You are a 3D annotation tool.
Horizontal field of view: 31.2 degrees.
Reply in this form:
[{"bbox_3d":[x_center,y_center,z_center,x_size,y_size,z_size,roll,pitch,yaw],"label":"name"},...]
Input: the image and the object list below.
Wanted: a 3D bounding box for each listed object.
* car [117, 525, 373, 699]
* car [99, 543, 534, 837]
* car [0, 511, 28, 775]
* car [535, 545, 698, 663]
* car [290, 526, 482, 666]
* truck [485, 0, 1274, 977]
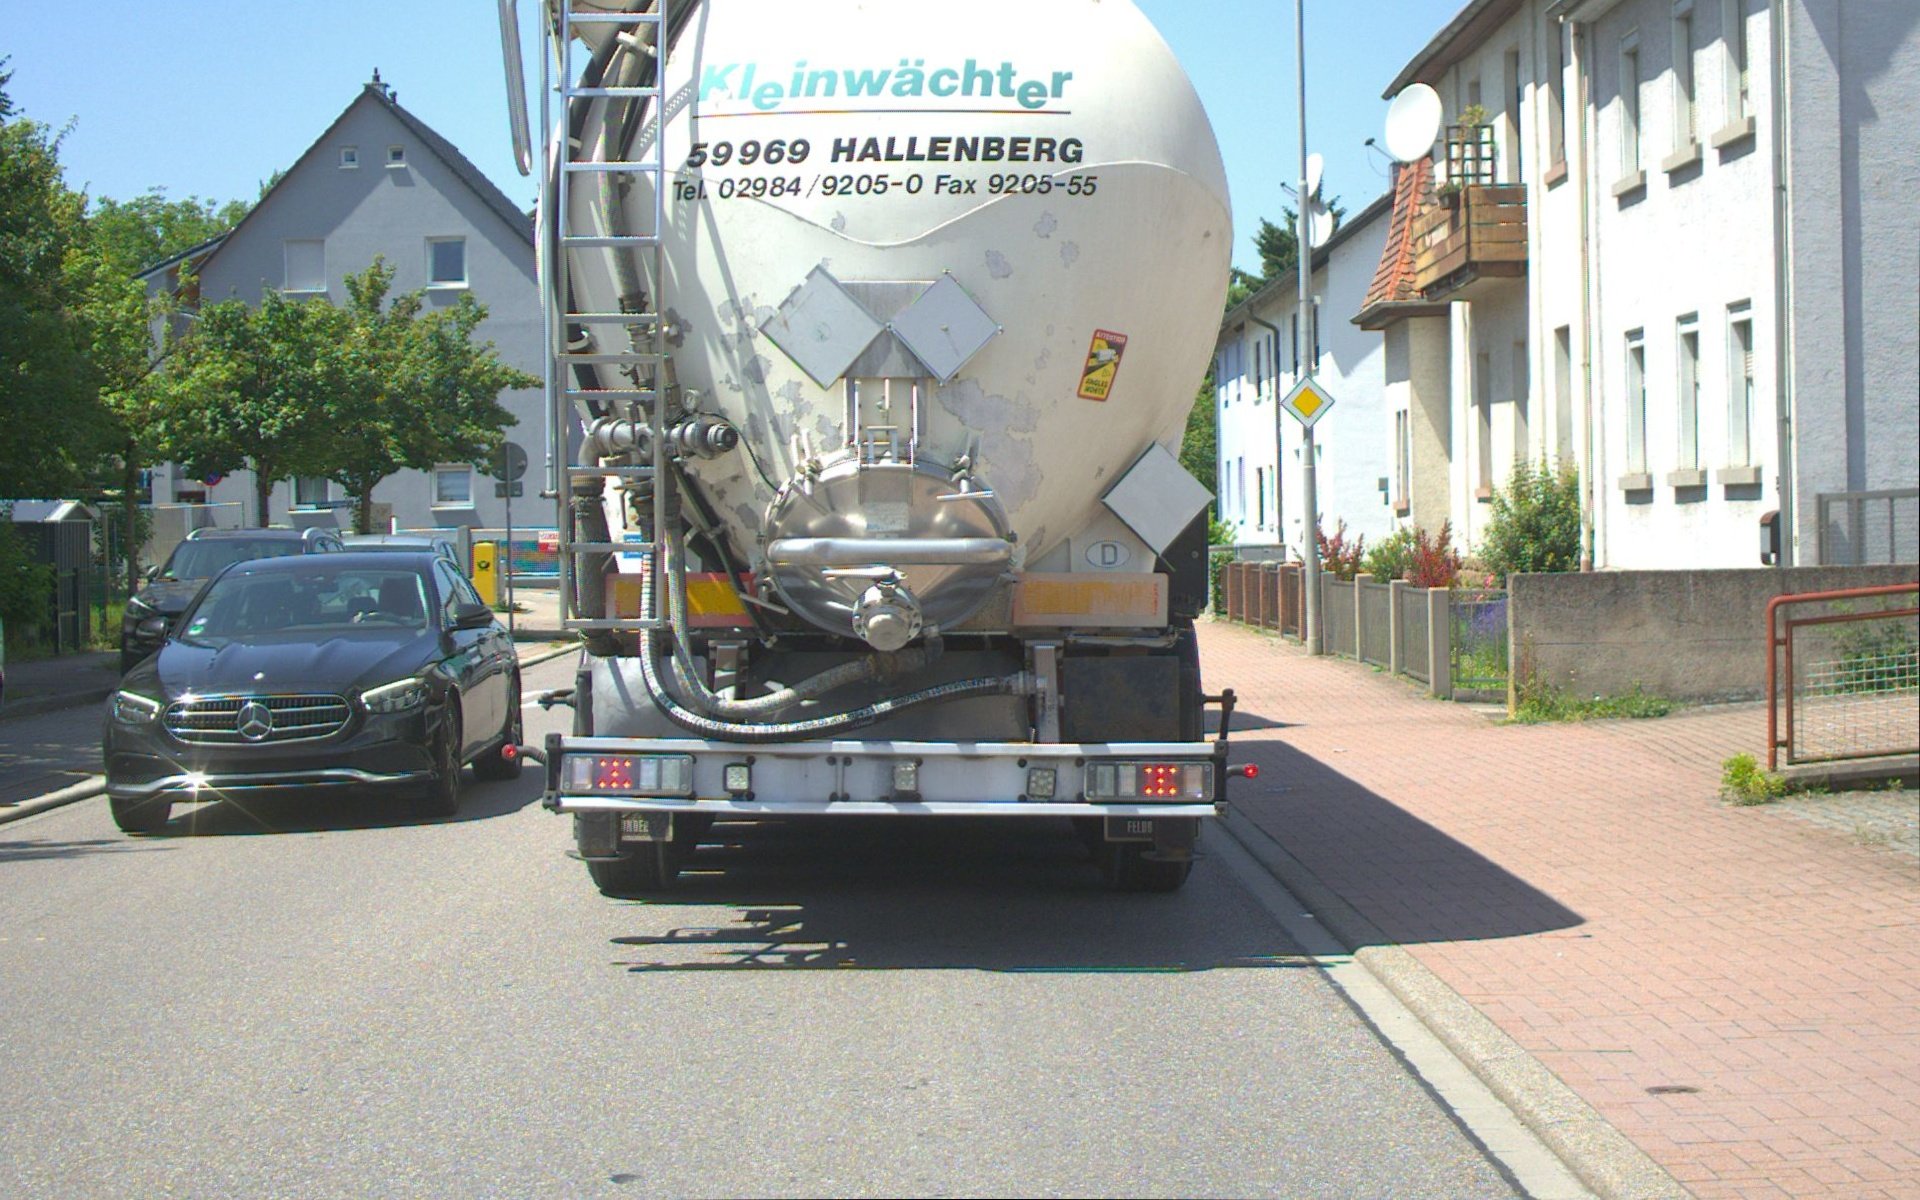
[{"bbox_3d":[-6.994,0.068,33.983,1.691,1.614,3.997,0,1,0],"label":"car"},{"bbox_3d":[-3.632,0.428,20.198,1.730,1.455,4.695,-2,1,-1],"label":"car"},{"bbox_3d":[-6.923,0.306,20.301,1.706,1.681,4.526,0,1,-1],"label":"car"},{"bbox_3d":[-4.452,0.016,45.036,1.706,1.365,3.869,-3,1,0],"label":"car"},{"bbox_3d":[-6.764,-0.085,40.832,1.697,1.575,3.838,0,1,-1],"label":"car"},{"bbox_3d":[-0.405,-0.844,16.370,2.641,4.002,9.562,0,1,-2],"label":"truck"}]
